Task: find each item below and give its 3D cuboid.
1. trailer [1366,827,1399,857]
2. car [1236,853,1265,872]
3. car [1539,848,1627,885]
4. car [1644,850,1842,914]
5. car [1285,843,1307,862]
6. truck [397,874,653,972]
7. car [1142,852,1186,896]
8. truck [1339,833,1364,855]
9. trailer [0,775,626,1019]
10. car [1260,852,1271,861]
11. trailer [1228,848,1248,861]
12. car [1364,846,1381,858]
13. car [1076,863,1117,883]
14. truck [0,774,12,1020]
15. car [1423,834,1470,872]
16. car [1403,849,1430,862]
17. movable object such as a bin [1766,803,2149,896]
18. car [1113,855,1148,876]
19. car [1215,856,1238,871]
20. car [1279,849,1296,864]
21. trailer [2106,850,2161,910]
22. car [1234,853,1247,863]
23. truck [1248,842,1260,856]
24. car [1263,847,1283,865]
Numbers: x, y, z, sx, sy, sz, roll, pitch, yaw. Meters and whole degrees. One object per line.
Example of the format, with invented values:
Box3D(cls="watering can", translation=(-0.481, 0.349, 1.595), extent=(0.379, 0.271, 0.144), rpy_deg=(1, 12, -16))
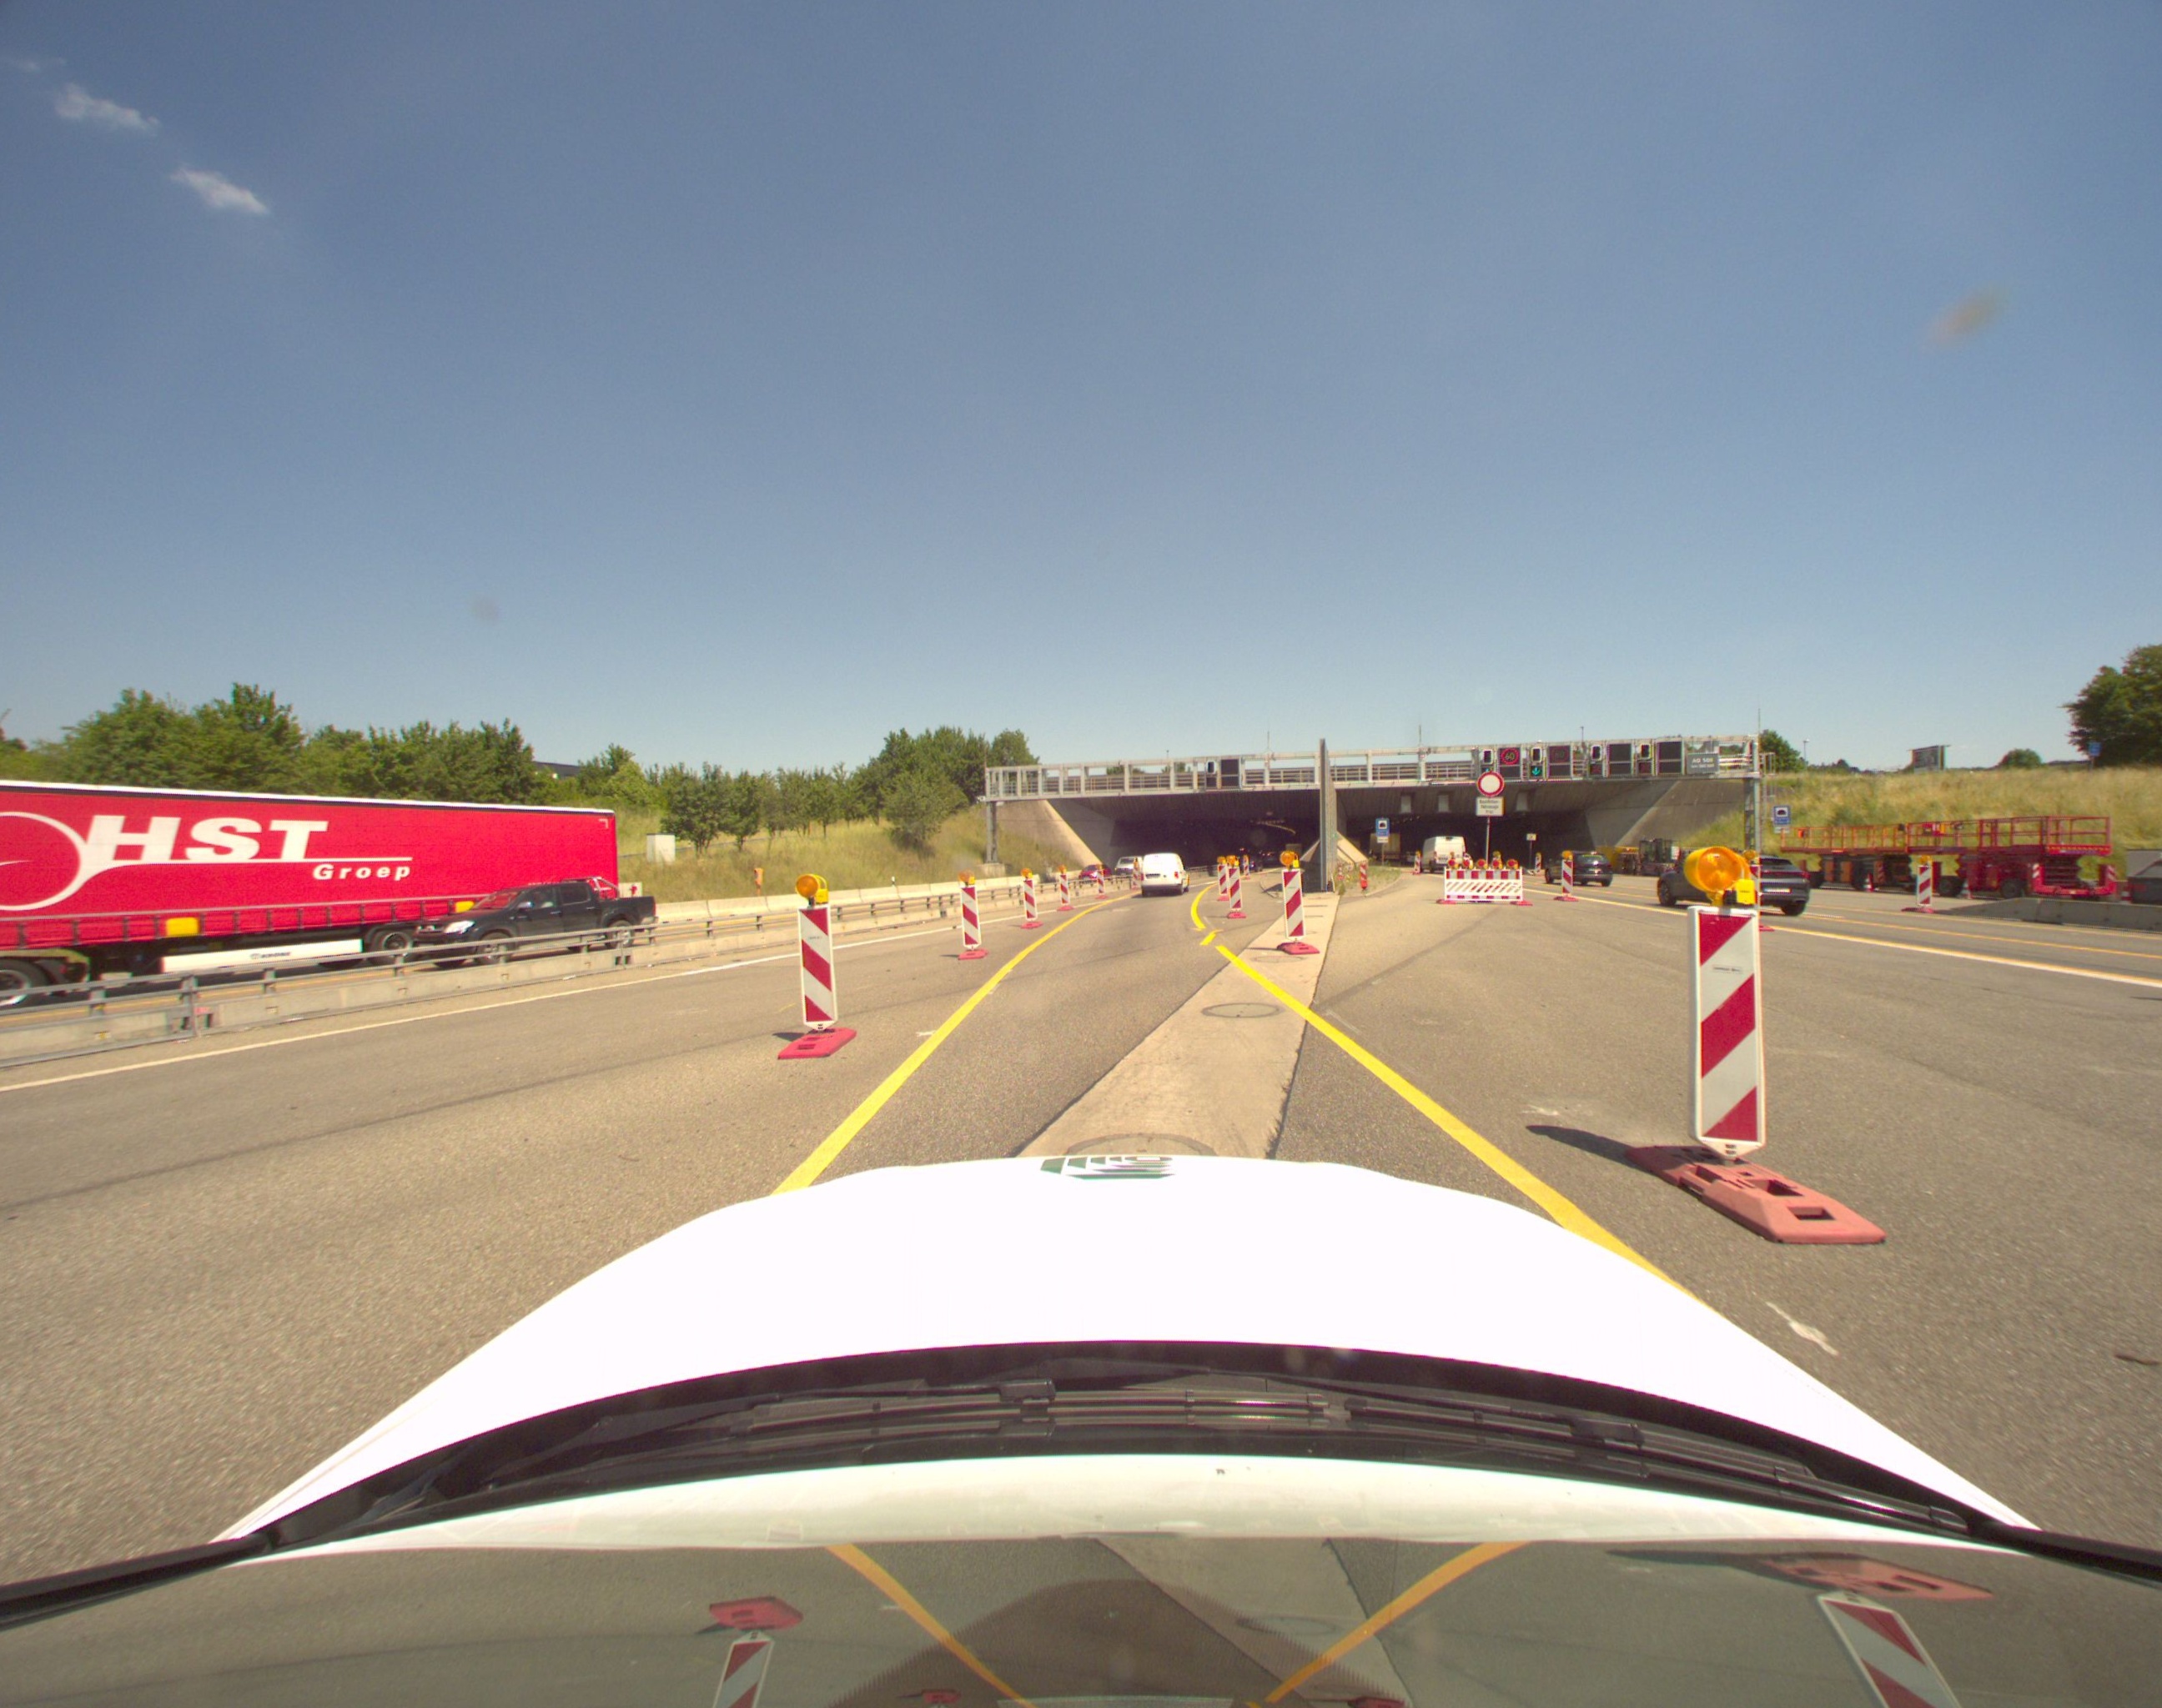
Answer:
Box3D(cls="trailer", translation=(43.885, -1.570, 118.873), extent=(2.714, 4.062, 14.143), rpy_deg=(0, 0, 13))
Box3D(cls="car", translation=(14.752, 0.722, 70.616), extent=(1.793, 1.537, 4.432), rpy_deg=(-2, -1, 20))
Box3D(cls="car", translation=(24.034, 0.582, 39.255), extent=(2.005, 1.662, 5.255), rpy_deg=(0, 0, 12))
Box3D(cls="car", translation=(17.133, 0.657, 21.439), extent=(1.982, 1.486, 4.690), rpy_deg=(0, 0, 9))
Box3D(cls="car", translation=(31.864, -0.159, 120.384), extent=(2.792, 2.773, 7.132), rpy_deg=(0, -1, 17))
Box3D(cls="truck", translation=(-13.243, 1.549, 19.831), extent=(1.976, 1.873, 4.787), rpy_deg=(-2, 0, 22))
Box3D(cls="car", translation=(3.634, 0.861, 35.967), extent=(1.800, 1.794, 3.736), rpy_deg=(-2, -1, 5))
Box3D(cls="truck", translation=(59.940, -2.112, 180.902), extent=(3.379, 4.335, 16.590), rpy_deg=(1, -1, 12))
Box3D(cls="trailer", translation=(-17.318, 0.747, 18.799), extent=(2.317, 4.102, 13.331), rpy_deg=(-2, -1, 22))
Box3D(cls="car", translation=(37.671, 0.519, 166.251), extent=(1.760, 1.577, 4.465), rpy_deg=(-4, -1, 16))
Box3D(cls="trailer", translation=(24.395, 0.066, 126.464), extent=(1.929, 1.805, 5.552), rpy_deg=(-4, -1, 22))
Box3D(cls="car", translation=(39.252, -0.257, 109.841), extent=(1.801, 1.642, 4.671), rpy_deg=(0, 0, 15))
Box3D(cls="car", translation=(1.246, 1.478, 64.917), extent=(1.672, 1.395, 4.023), rpy_deg=(-4, -2, 25))
Box3D(cls="truck", translation=(-20.055, 0.756, 11.804), extent=(2.314, 4.108, 5.043), rpy_deg=(-2, -1, 21))
Box3D(cls="car", translation=(26.043, -0.065, 58.207), extent=(2.248, 2.536, 6.614), rpy_deg=(0, 0, 17))
Box3D(cls="car", translation=(37.322, 0.180, 90.626), extent=(1.804, 1.464, 4.665), rpy_deg=(0, 0, 10))
Box3D(cls="movable object such as a bin", translation=(35.517, -0.096, 34.641), extent=(3.090, 3.011, 14.750), rpy_deg=(-2, -1, 12))
Box3D(cls="car", translation=(4.686, 1.070, 76.723), extent=(1.672, 1.834, 4.813), rpy_deg=(-4, -2, 22))
Box3D(cls="car", translation=(17.607, 1.148, 98.601), extent=(1.727, 1.593, 4.251), rpy_deg=(-4, -1, 23))
Box3D(cls="car", translation=(25.566, 0.335, 100.763), extent=(1.795, 1.751, 4.428), rpy_deg=(-2, -1, 16))
Box3D(cls="trailer", translation=(30.602, 0.687, 20.373), extent=(2.580, 1.569, 6.250), rpy_deg=(-2, 0, 8))
Box3D(cls="car", translation=(29.175, 0.725, 148.578), extent=(1.760, 1.666, 4.828), rpy_deg=(-4, -1, 16))
Box3D(cls="truck", translation=(50.564, -1.567, 238.122), extent=(2.789, 3.915, 6.481), rpy_deg=(-4, -1, 15))
Box3D(cls="car", translation=(20.388, 0.223, 86.565), extent=(1.795, 1.815, 4.428), rpy_deg=(-2, -1, 16))
